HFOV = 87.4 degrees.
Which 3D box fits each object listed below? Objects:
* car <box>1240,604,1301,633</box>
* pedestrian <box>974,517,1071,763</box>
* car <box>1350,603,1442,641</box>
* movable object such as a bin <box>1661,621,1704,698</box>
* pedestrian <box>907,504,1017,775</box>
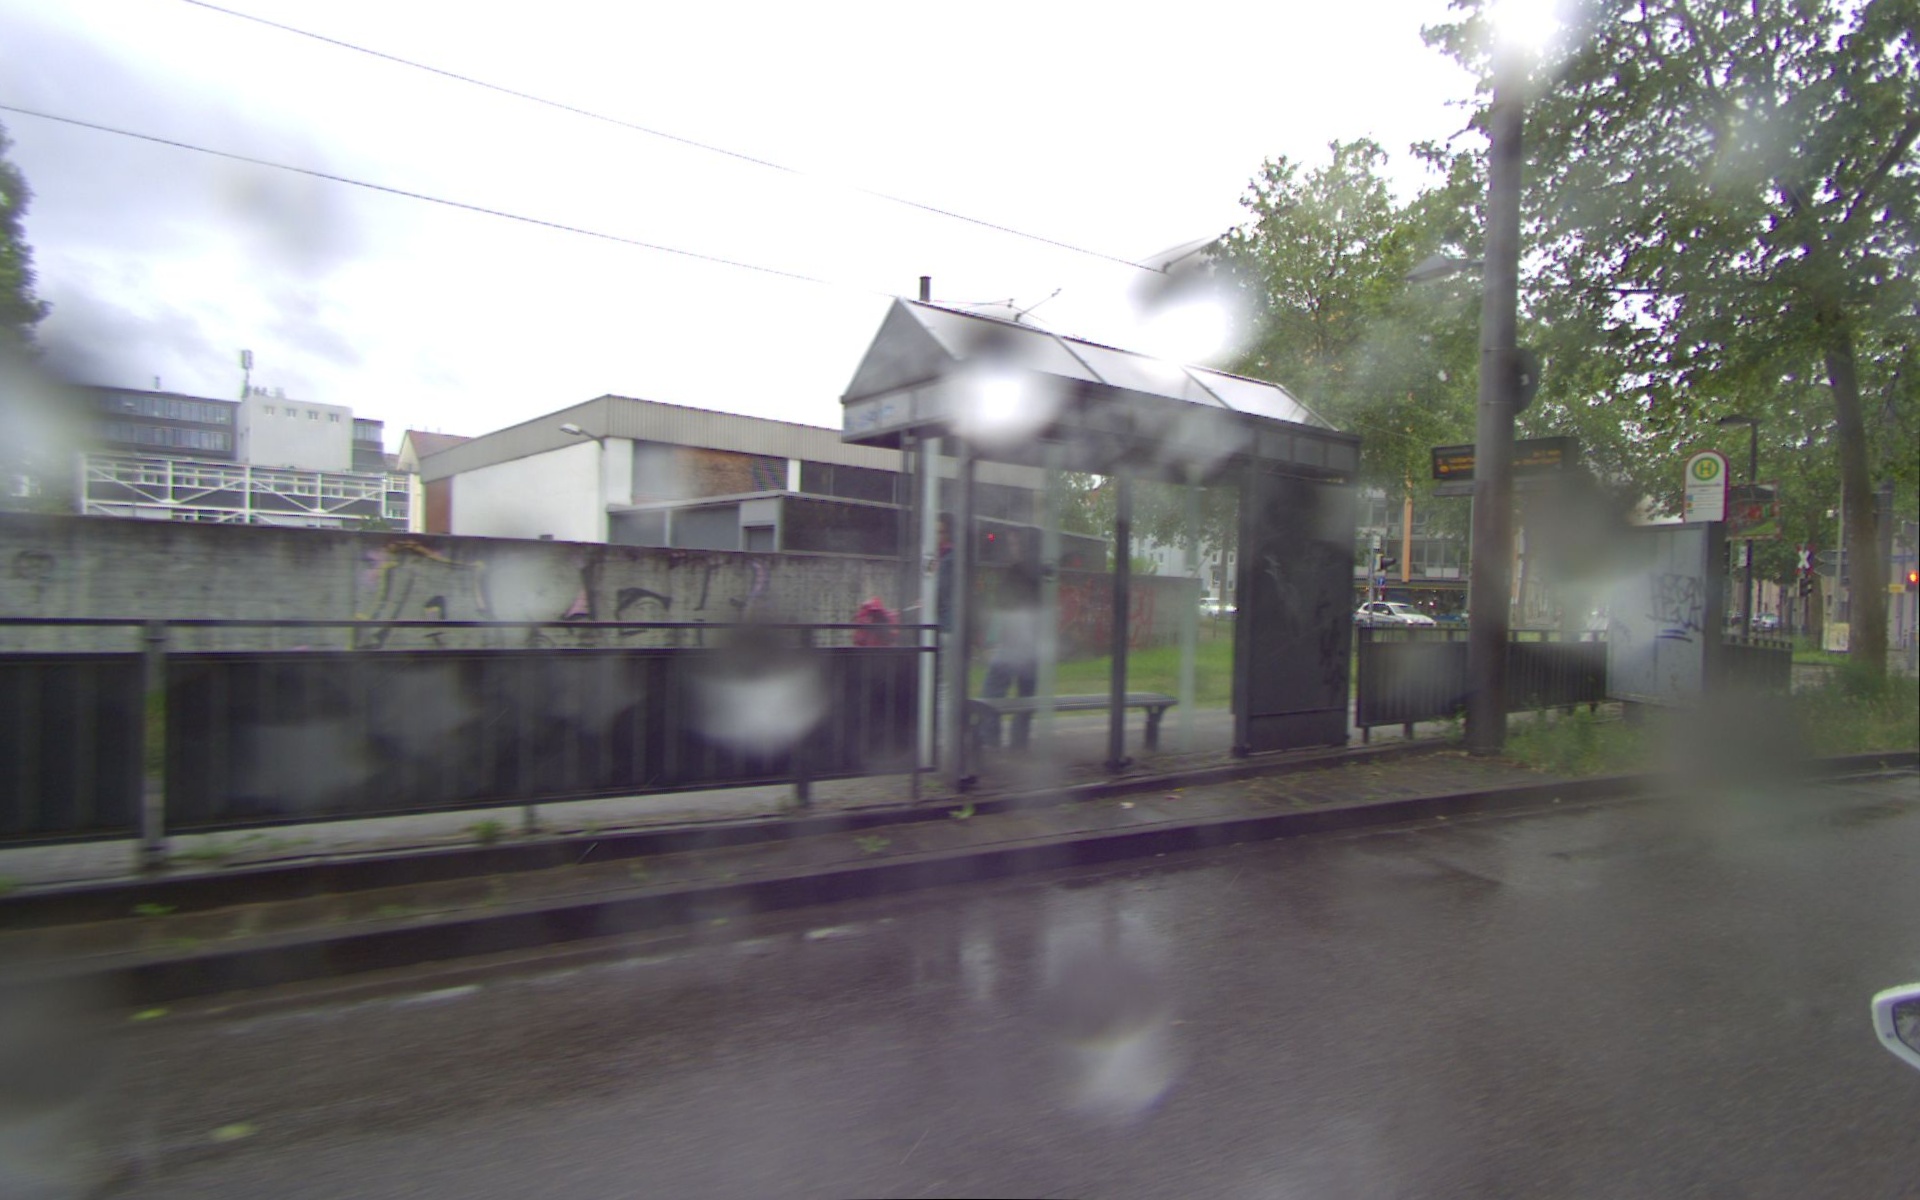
[{"bbox_3d":[18.242,1.083,59.169,1.695,1.661,3.783,1,-1,-13],"label":"car"},{"bbox_3d":[0.475,0.290,7.521,0.571,1.754,0.568,0,0,20],"label":"pedestrian"},{"bbox_3d":[20.387,1.019,47.179,1.939,1.673,4.009,1,-1,-14],"label":"car"},{"bbox_3d":[10.611,0.863,14.757,0.527,1.104,0.413,1,-1,-43],"label":"movable object such as a bin"},{"bbox_3d":[0.023,0.259,6.882,0.571,1.754,0.568,0,-1,22],"label":"pedestrian"}]
